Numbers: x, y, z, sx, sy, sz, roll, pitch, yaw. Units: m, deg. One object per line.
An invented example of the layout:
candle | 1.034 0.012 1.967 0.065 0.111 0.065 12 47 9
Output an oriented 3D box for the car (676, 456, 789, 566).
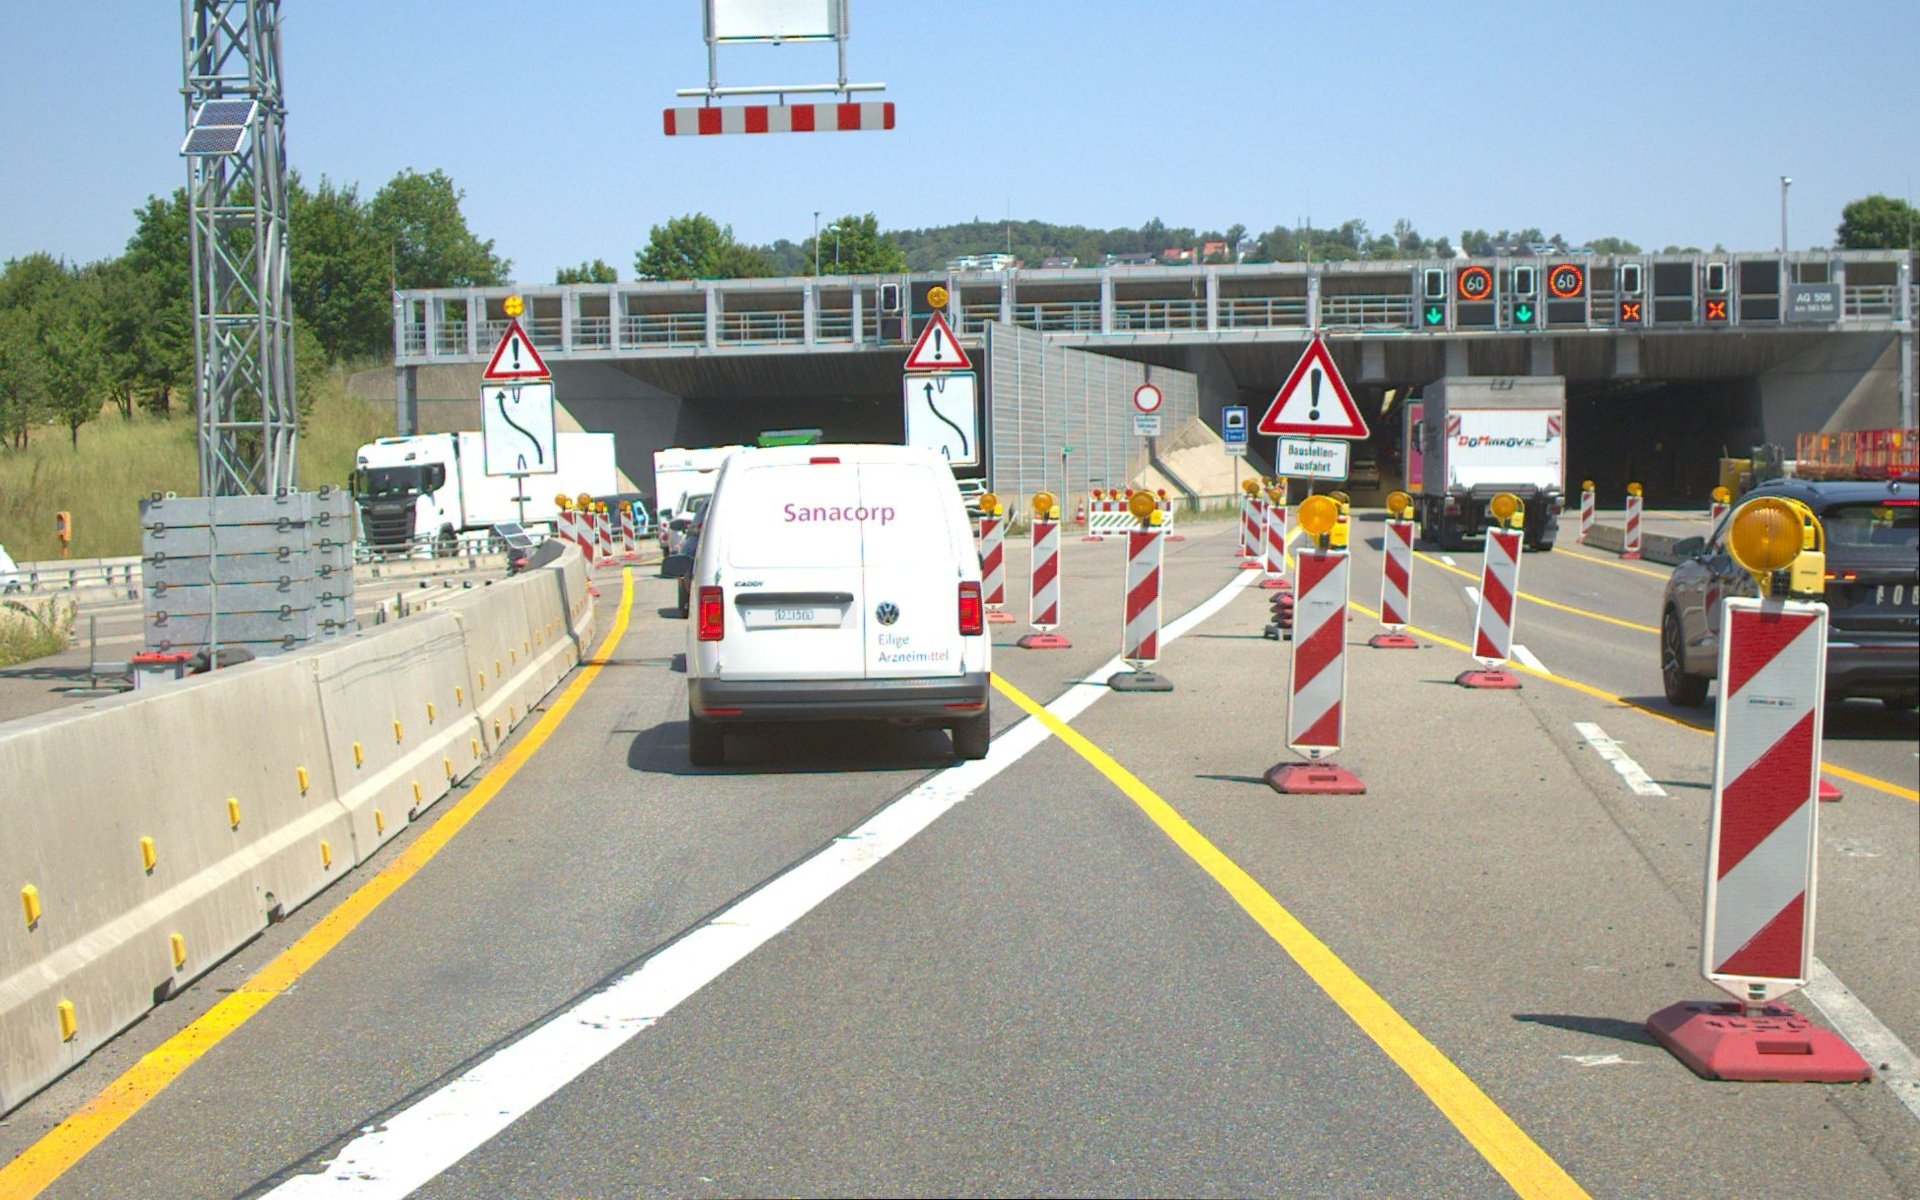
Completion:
car | -4.040 -1.577 60.636 1.808 1.808 4.411 -2 2 -5

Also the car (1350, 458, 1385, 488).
car | 23.088 -7.184 194.854 1.815 1.624 4.190 0 2 5

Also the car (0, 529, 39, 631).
car | -20.035 -0.401 67.584 1.995 2.007 3.997 1 1 15

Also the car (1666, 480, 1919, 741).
car | 6.106 0.005 23.509 1.815 1.624 4.190 0 2 2

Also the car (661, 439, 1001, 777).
car | -0.830 -0.014 20.741 1.808 1.787 3.732 -2 2 -4

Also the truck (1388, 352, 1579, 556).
truck | 12.205 -3.272 81.693 3.402 4.320 16.534 1 1 5

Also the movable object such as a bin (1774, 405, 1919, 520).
movable object such as a bin | 26.238 -3.951 99.197 3.112 3.000 14.700 -2 2 5

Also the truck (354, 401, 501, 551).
truck | -16.279 -3.798 105.325 2.666 4.484 4.840 1 2 16

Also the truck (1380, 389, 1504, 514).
truck | 16.716 -5.088 120.313 3.402 4.057 16.535 0 2 5

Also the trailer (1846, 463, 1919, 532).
trailer | 23.926 -2.566 84.770 2.595 1.563 6.236 -2 2 1

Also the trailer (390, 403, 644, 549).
trailer | -14.248 -4.062 112.634 2.666 4.484 14.920 1 2 16

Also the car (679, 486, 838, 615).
car | -2.663 -0.675 44.562 1.808 1.532 4.411 -2 2 -6

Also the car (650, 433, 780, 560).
car | -5.601 -2.326 78.256 2.813 2.764 7.103 0 1 -4
